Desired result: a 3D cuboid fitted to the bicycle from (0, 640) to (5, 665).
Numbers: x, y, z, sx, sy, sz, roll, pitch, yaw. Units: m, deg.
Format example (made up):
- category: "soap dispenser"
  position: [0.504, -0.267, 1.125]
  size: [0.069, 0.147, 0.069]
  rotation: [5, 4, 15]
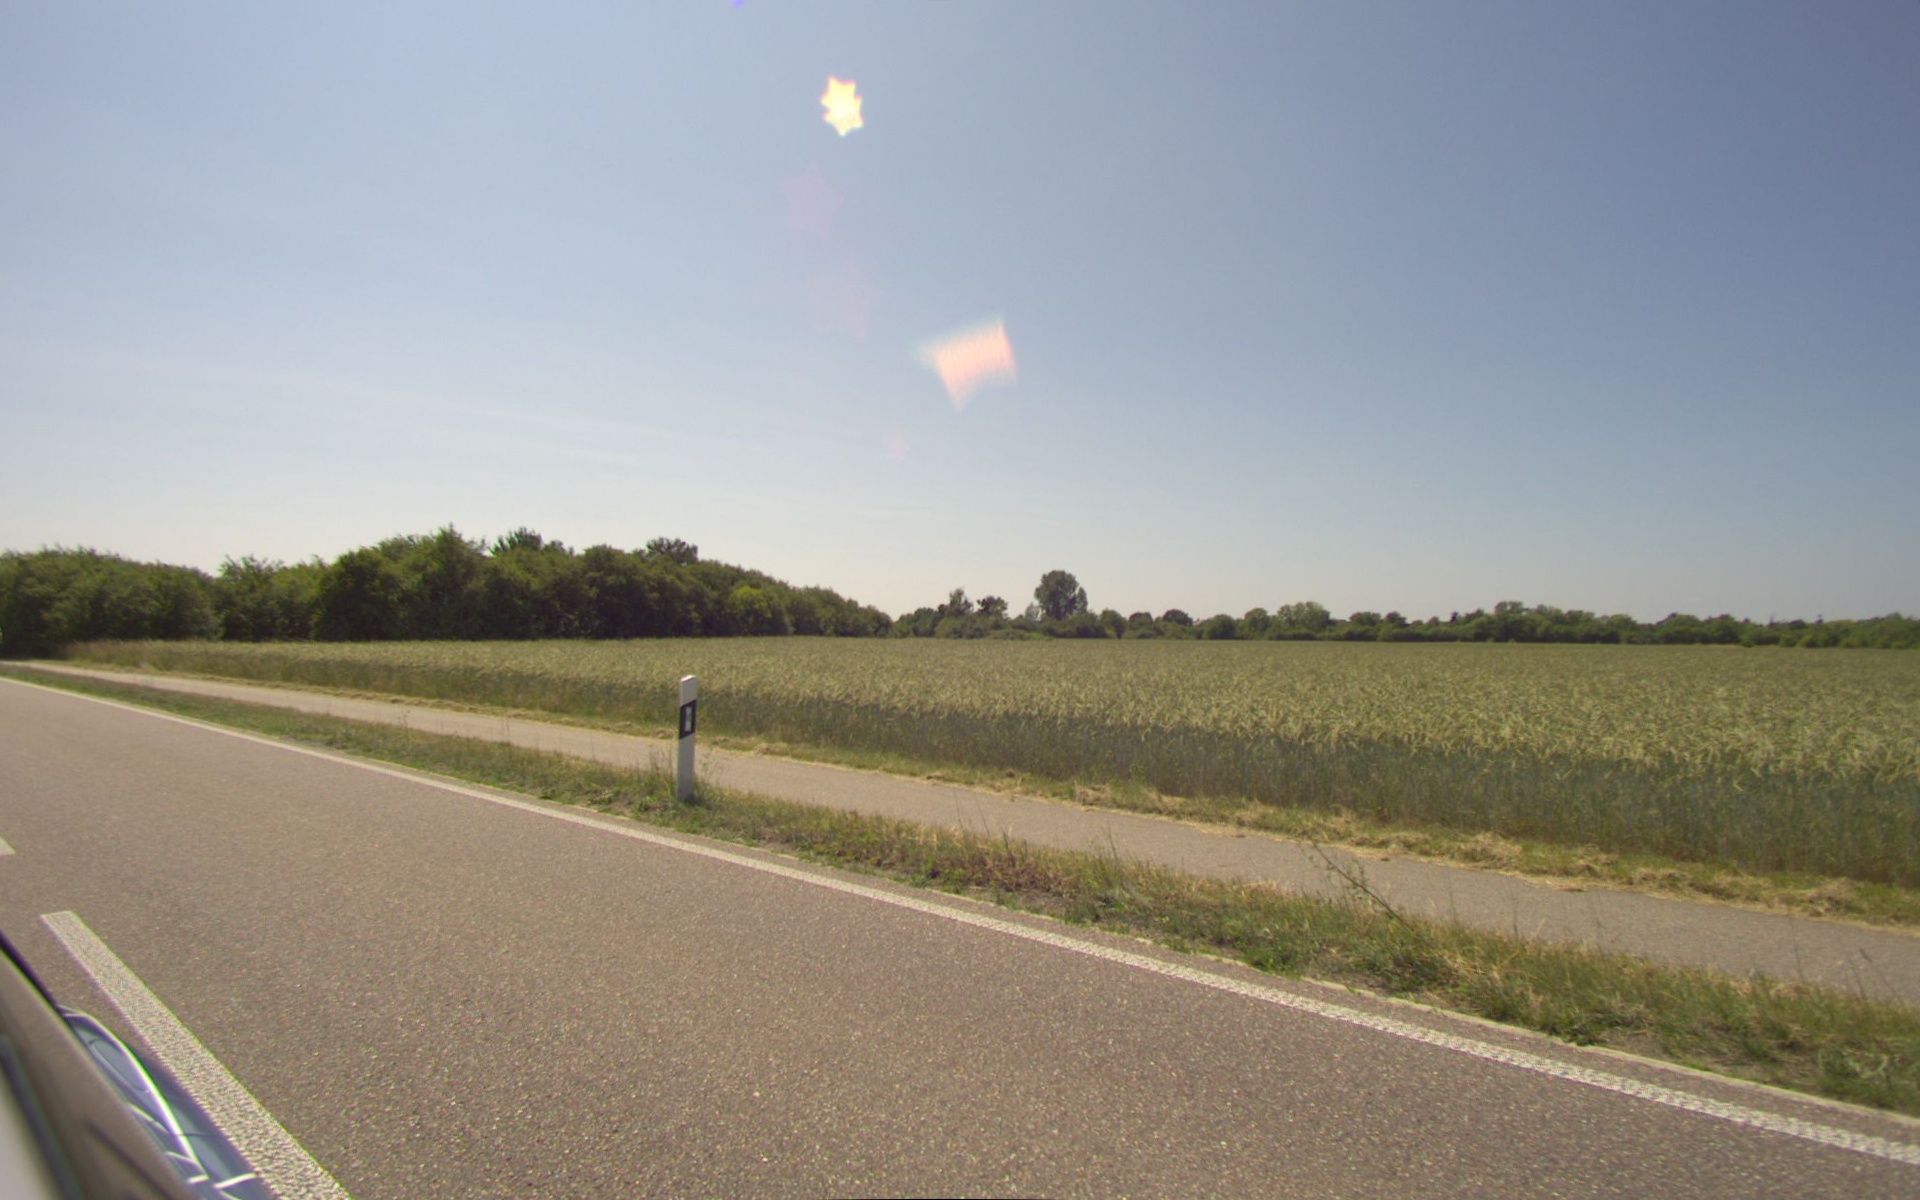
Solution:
- category: "bicycle"
  position: [-46.164, 2.485, 48.084]
  size: [1.958, 1.185, 0.688]
  rotation: [-2, -3, 34]
